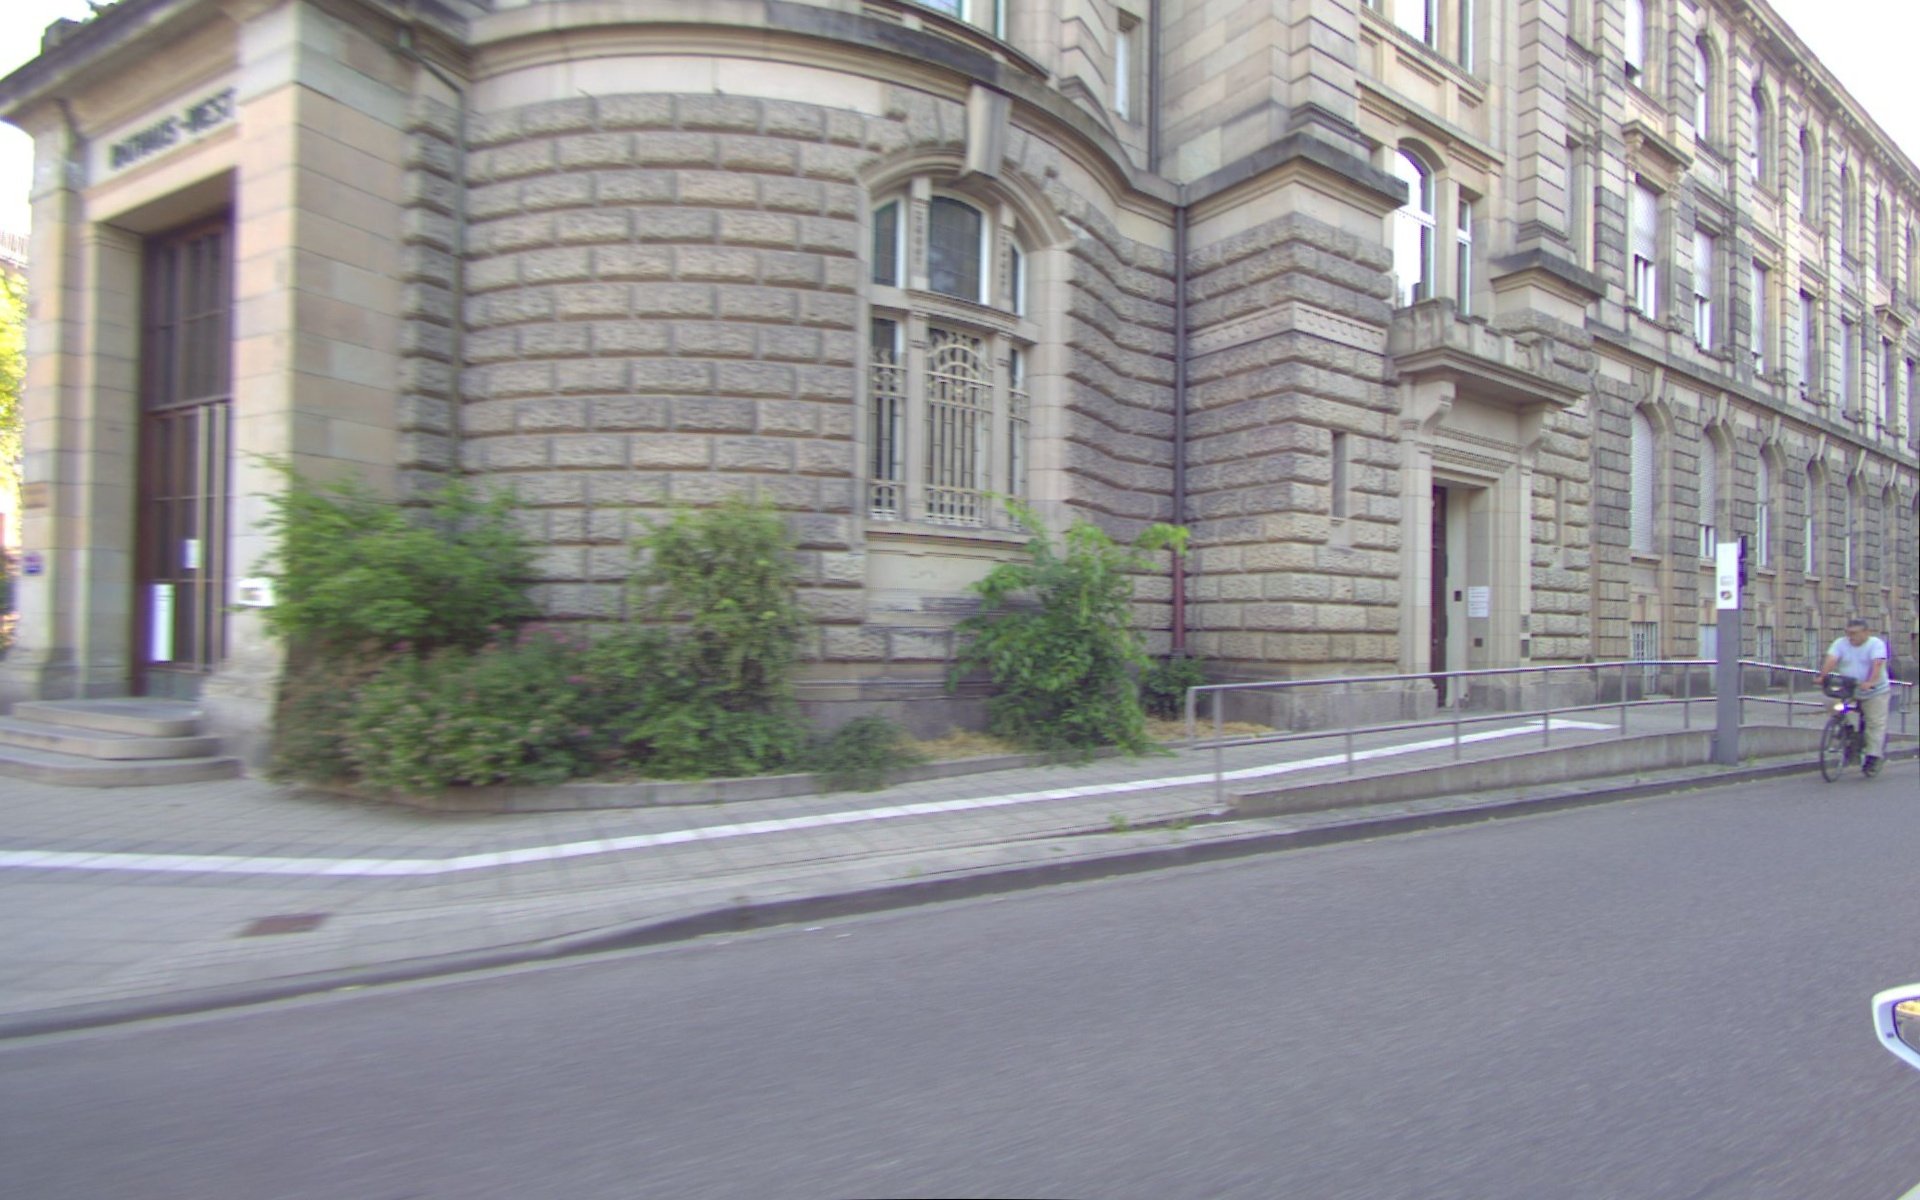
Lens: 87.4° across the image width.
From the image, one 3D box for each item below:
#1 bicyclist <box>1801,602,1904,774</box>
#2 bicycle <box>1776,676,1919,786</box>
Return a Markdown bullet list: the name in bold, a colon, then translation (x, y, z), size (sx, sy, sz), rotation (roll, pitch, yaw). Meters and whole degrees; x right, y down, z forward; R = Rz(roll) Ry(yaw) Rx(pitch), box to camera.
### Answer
- **bicyclist**: translation (9.939, 0.957, 11.196), size (0.771, 1.830, 0.642), rotation (2, -2, -30)
- **bicycle**: translation (9.974, 1.418, 11.200), size (2.128, 1.084, 0.659), rotation (2, -2, -31)
